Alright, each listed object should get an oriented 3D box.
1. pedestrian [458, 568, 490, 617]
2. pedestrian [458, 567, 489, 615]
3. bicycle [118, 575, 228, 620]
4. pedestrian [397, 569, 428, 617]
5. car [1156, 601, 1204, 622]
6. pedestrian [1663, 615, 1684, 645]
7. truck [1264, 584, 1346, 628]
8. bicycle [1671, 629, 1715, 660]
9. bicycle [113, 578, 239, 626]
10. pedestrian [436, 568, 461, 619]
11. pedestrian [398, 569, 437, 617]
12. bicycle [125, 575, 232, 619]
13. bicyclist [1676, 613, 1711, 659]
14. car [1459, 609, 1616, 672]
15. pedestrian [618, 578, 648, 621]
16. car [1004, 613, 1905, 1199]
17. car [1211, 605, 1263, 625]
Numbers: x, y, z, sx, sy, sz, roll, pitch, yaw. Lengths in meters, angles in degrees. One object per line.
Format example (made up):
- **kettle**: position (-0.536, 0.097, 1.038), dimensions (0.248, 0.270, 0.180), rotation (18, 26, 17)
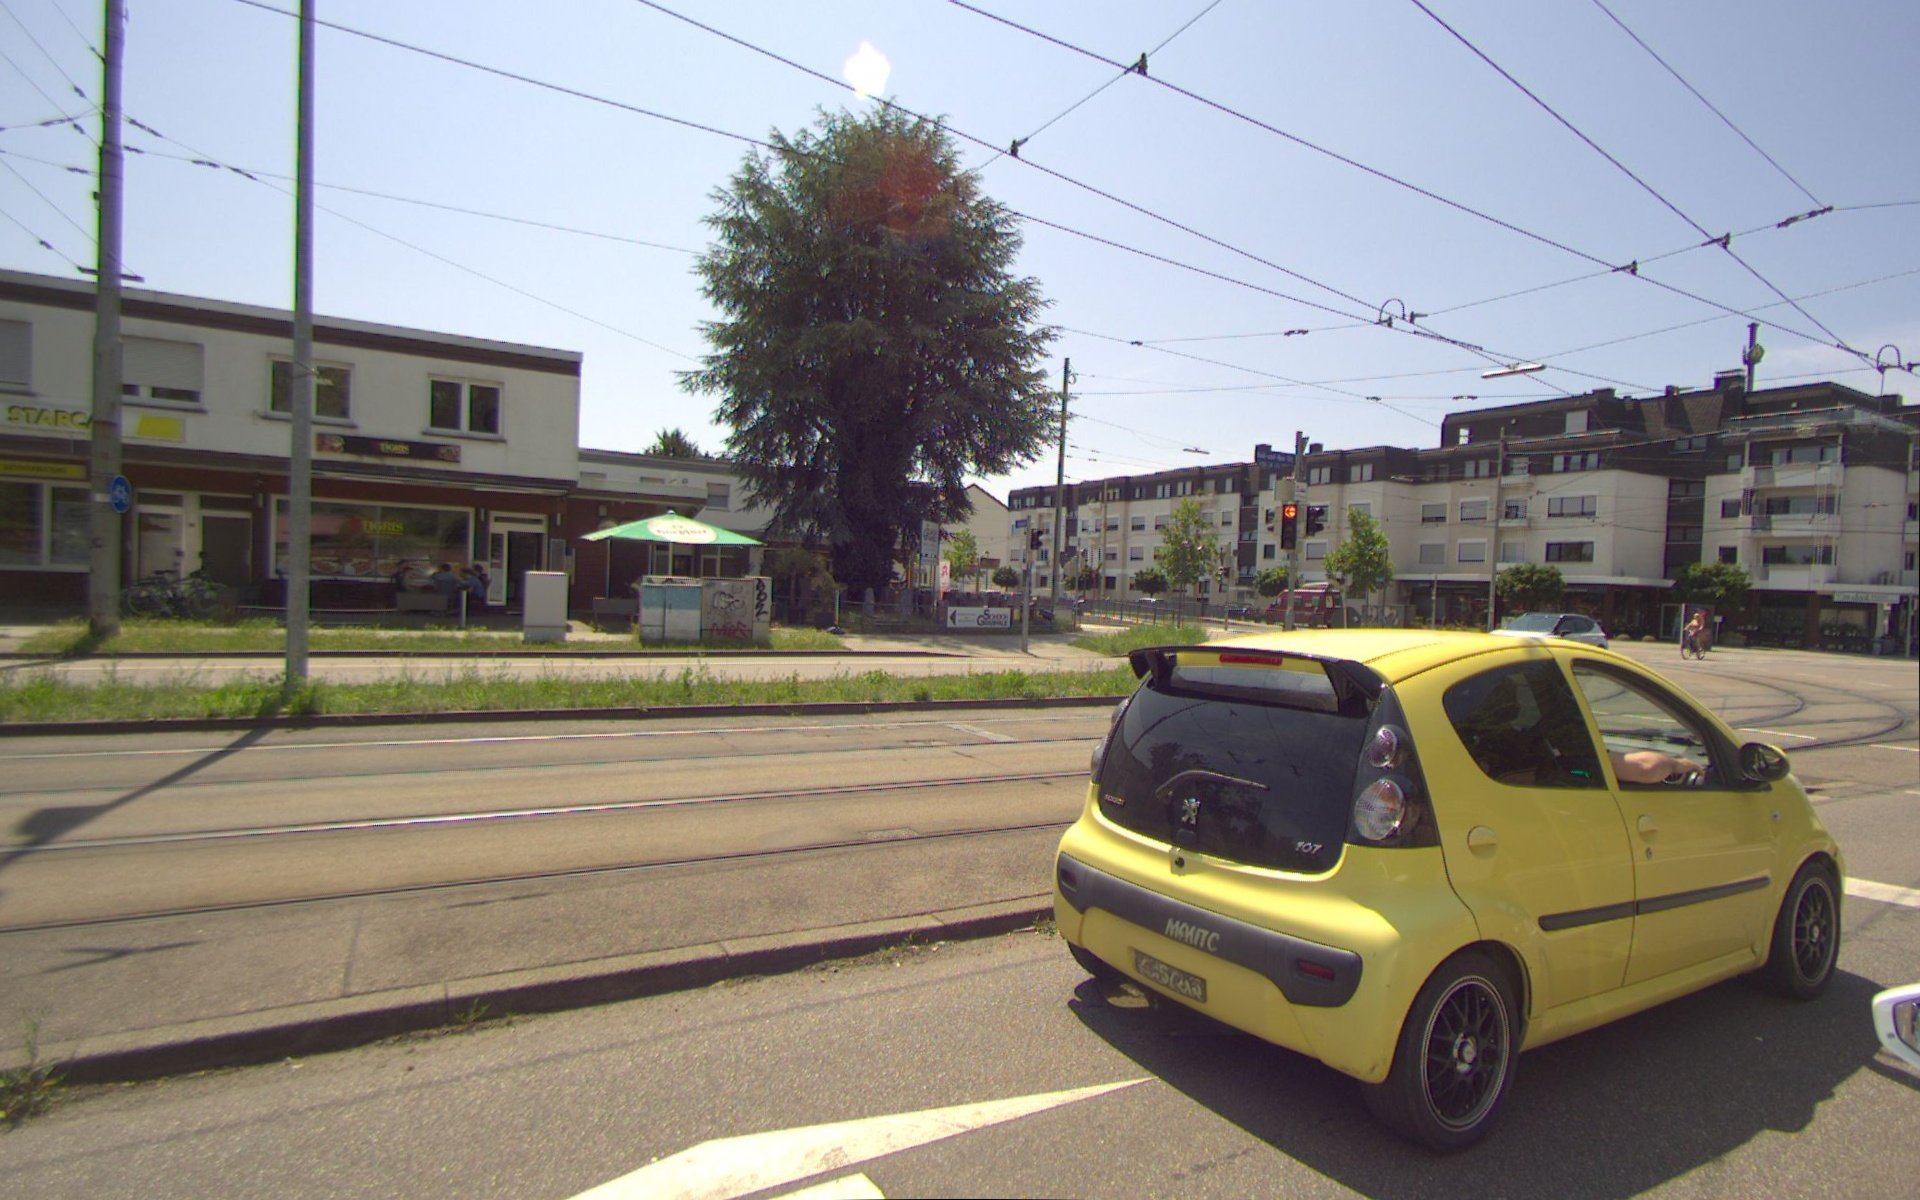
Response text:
- **pedestrian**: position (-12.469, -0.196, 25.776), dimensions (0.666, 1.215, 0.515), rotation (2, 1, -30)
- **pedestrian**: position (-12.760, -0.229, 26.353), dimensions (0.666, 1.225, 0.515), rotation (2, 1, -30)
- **bicycle**: position (-16.715, -0.052, 21.387), dimensions (1.767, 0.859, 0.525), rotation (2, 3, -30)
- **pedestrian**: position (-14.036, -0.183, 25.765), dimensions (0.666, 1.179, 0.515), rotation (2, 1, -30)
- **car**: position (16.728, 0.837, 76.486), dimensions (1.571, 1.452, 3.554), rotation (2, 1, -28)
- **pedestrian**: position (42.851, 1.791, 60.347), dimensions (0.798, 1.719, 0.696), rotation (2, 1, -31)
- **truck**: position (22.922, 0.374, 66.945), dimensions (2.161, 2.734, 5.004), rotation (2, 1, -29)
- **bicycle**: position (29.097, 1.753, 39.881), dimensions (1.909, 1.164, 0.691), rotation (1, 1, -31)
- **bicycle**: position (-15.878, 0.047, 20.407), dimensions (1.936, 0.859, 0.599), rotation (2, 3, -30)
- **pedestrian**: position (-12.702, -0.164, 24.946), dimensions (0.485, 1.255, 0.572), rotation (2, 1, -30)
- **pedestrian**: position (-13.576, -0.178, 25.136), dimensions (0.801, 1.142, 0.562), rotation (2, 1, -30)
- **bicycle**: position (-16.994, -0.058, 21.891), dimensions (1.767, 0.859, 0.525), rotation (2, 3, -30)
- **bicyclist**: position (29.087, 1.421, 39.832), dimensions (1.124, 1.789, 0.691), rotation (1, 2, -31)
- **car**: position (16.090, 1.119, 27.966), dimensions (4.090, 1.573, 1.984), rotation (2, 1, -30)
- **pedestrian**: position (-8.991, -0.022, 27.595), dimensions (0.666, 1.142, 0.515), rotation (2, 1, -30)
- **car**: position (2.129, 0.815, 4.101), dimensions (3.613, 1.440, 1.608), rotation (2, -1, -31)
- **car**: position (19.821, 1.070, 72.027), dimensions (1.571, 1.235, 3.554), rotation (2, 1, -28)
